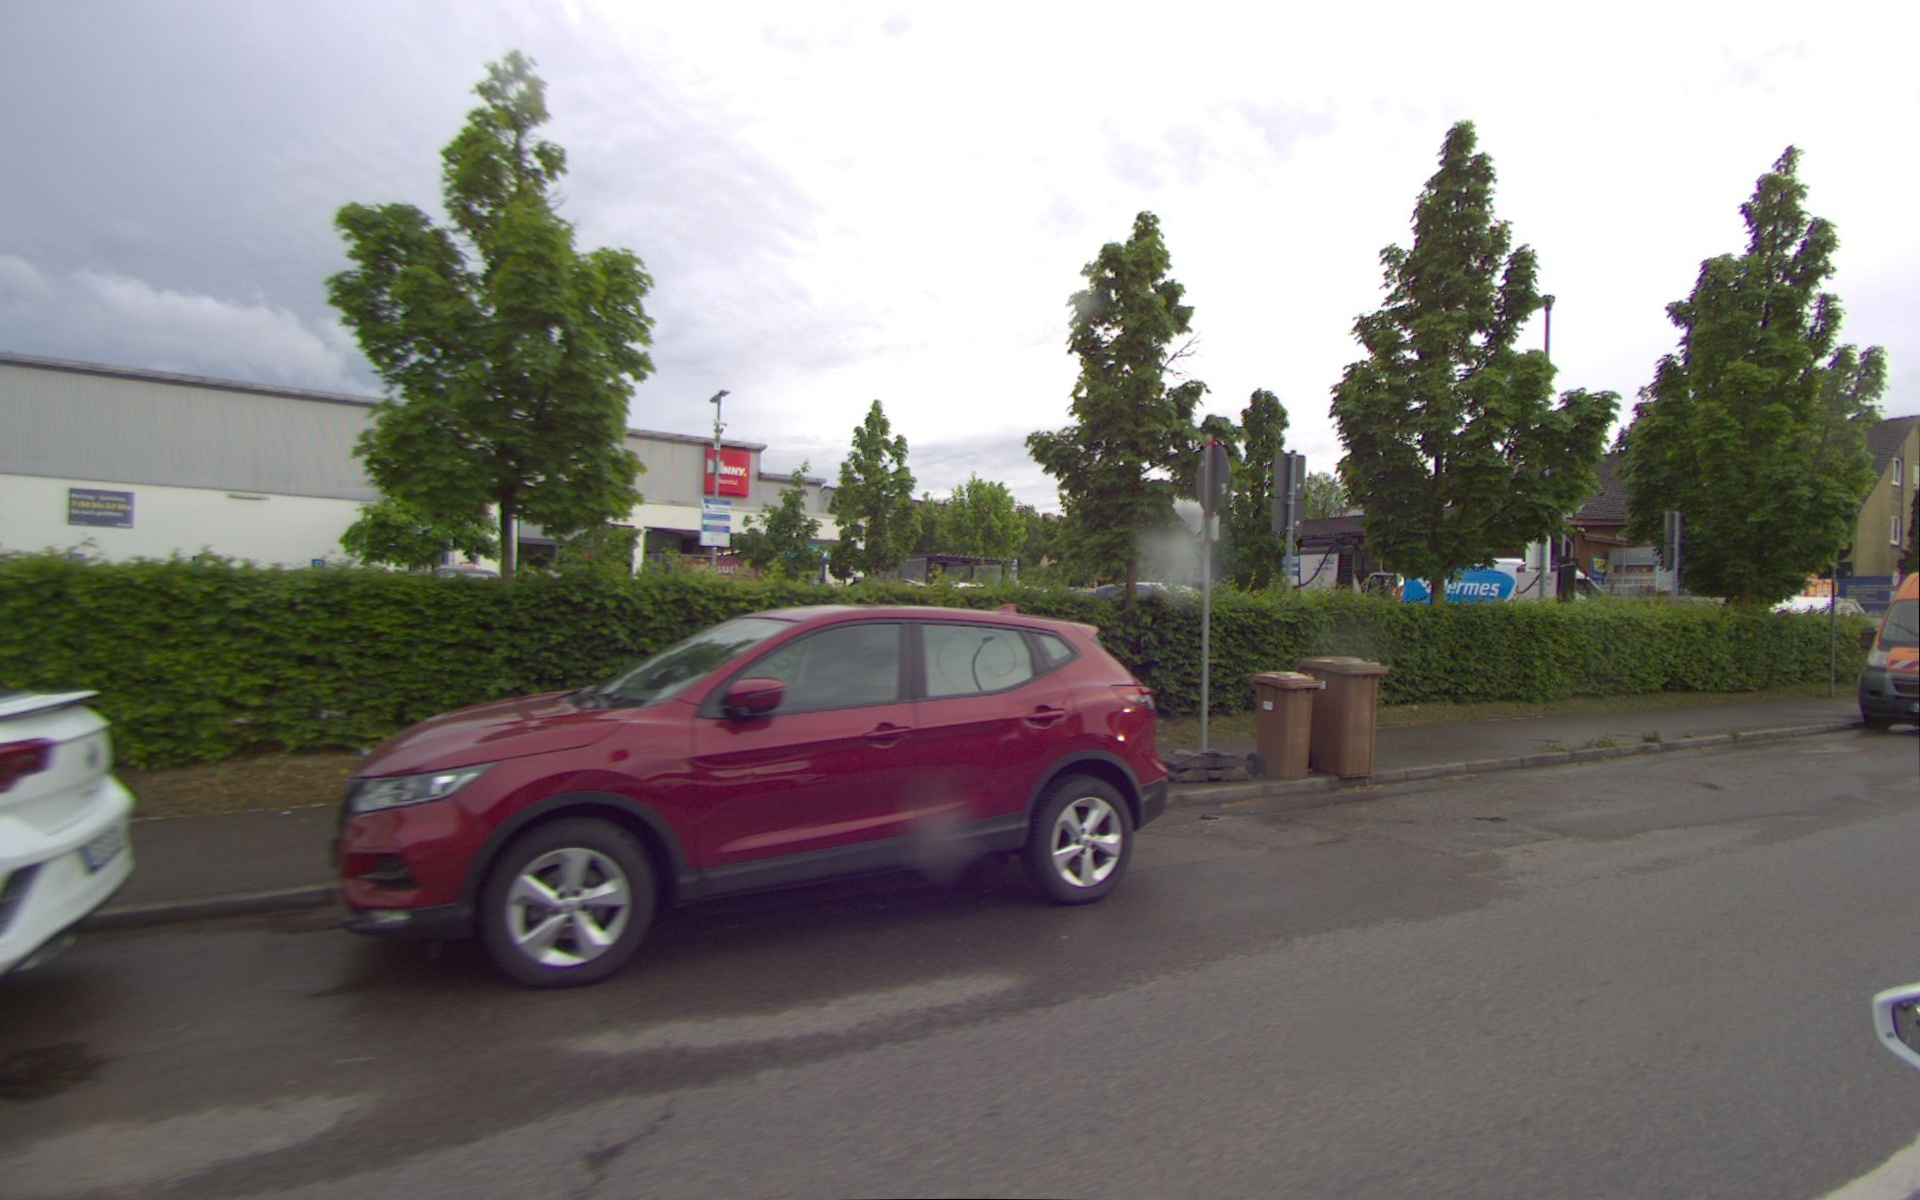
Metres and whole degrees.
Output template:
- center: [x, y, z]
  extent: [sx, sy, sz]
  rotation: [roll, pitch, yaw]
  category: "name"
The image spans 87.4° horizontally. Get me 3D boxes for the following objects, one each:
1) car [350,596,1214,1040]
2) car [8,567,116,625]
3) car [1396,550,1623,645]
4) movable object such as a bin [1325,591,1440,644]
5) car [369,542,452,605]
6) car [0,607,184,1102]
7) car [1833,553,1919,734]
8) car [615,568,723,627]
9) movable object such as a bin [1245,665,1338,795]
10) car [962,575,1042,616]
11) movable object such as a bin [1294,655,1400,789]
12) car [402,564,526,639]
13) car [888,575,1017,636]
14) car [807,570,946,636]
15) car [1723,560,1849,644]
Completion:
- center: [-0.807, 0.818, 5.506]
  extent: [4.293, 1.594, 1.796]
  rotation: [1, -1, -31]
  category: "car"
- center: [-27.471, -0.141, 30.852]
  extent: [1.640, 1.628, 3.709]
  rotation: [2, 1, -29]
  category: "car"
- center: [12.930, -0.072, 23.922]
  extent: [2.038, 2.040, 4.286]
  rotation: [2, 1, -30]
  category: "car"
- center: [15.672, 0.634, 37.395]
  extent: [1.981, 1.783, 3.397]
  rotation: [2, 1, -36]
  category: "movable object such as a bin"
- center: [-14.534, -0.667, 26.467]
  extent: [1.441, 1.516, 3.861]
  rotation: [0, 1, -36]
  category: "car"
- center: [-4.963, 0.783, 2.915]
  extent: [4.089, 1.519, 1.763]
  rotation: [0, 0, -31]
  category: "car"
- center: [16.193, 0.655, 15.679]
  extent: [5.953, 2.571, 2.114]
  rotation: [1, -2, -31]
  category: "car"
- center: [-8.640, -0.104, 29.607]
  extent: [1.756, 1.628, 3.957]
  rotation: [2, 1, -37]
  category: "car"
- center: [3.011, 1.159, 9.140]
  extent: [0.612, 1.096, 0.489]
  rotation: [2, 1, -26]
  category: "movable object such as a bin"
- center: [2.461, -0.318, 59.770]
  extent: [1.956, 2.269, 5.190]
  rotation: [1, 1, -35]
  category: "car"
- center: [3.666, 1.133, 9.539]
  extent: [0.613, 1.173, 0.670]
  rotation: [2, 1, -26]
  category: "movable object such as a bin"
- center: [-10.486, -0.006, 21.091]
  extent: [1.785, 1.406, 3.951]
  rotation: [2, 1, -34]
  category: "car"
- center: [-0.282, 0.113, 27.965]
  extent: [1.677, 1.540, 3.864]
  rotation: [2, 1, -34]
  category: "car"
- center: [-2.263, 0.039, 26.235]
  extent: [1.867, 1.572, 4.028]
  rotation: [2, 1, -34]
  category: "car"
- center: [32.228, 0.120, 39.161]
  extent: [5.181, 3.054, 2.065]
  rotation: [2, 1, -30]
  category: "car"
